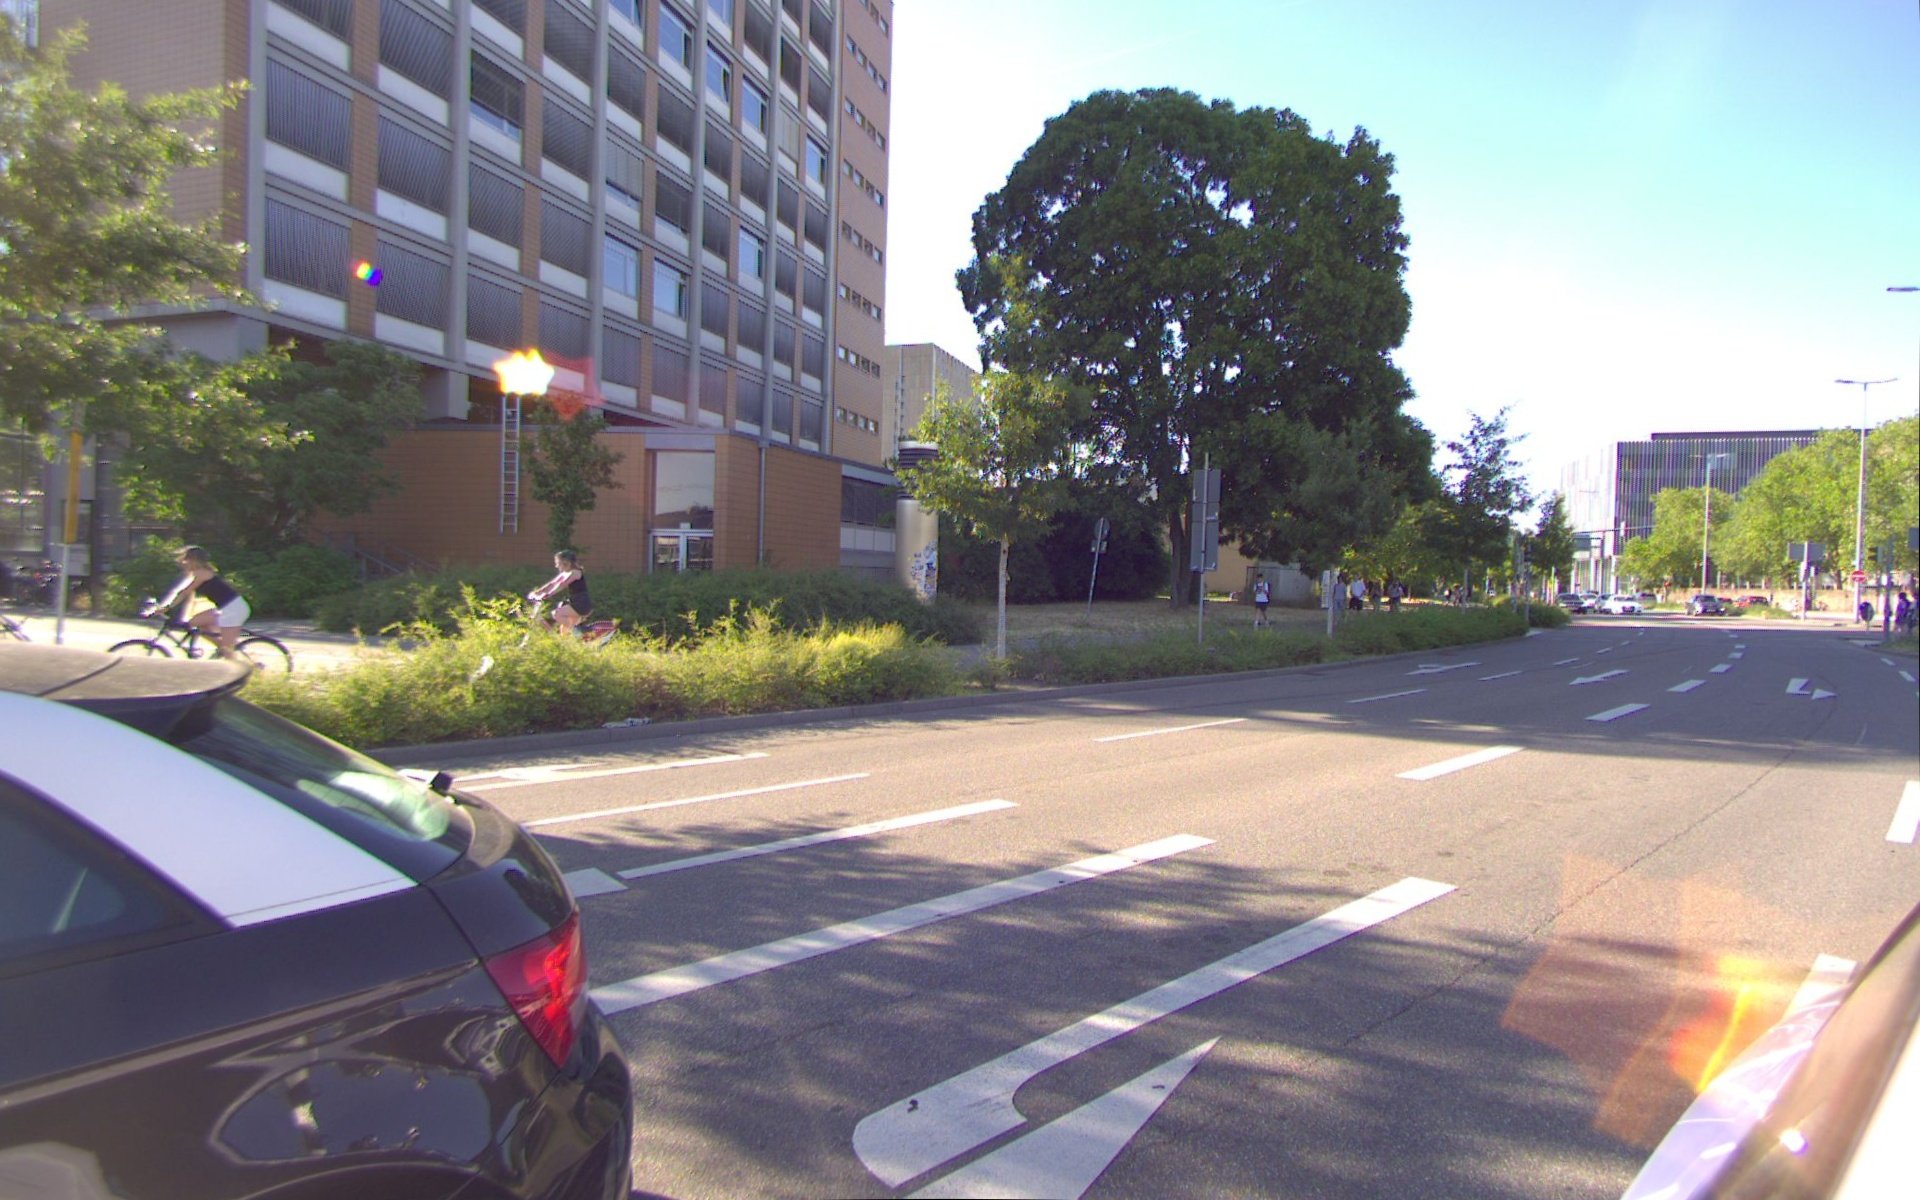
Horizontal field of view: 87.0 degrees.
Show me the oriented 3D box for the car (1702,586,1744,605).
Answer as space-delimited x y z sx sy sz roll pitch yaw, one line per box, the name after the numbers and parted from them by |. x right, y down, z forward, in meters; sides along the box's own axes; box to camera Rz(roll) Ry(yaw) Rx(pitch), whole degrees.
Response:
71.746 -0.458 95.241 2.172 1.605 4.569 2 2 24 | car

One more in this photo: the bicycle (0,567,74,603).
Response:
-23.392 -0.378 25.433 0.522 0.868 1.644 2 2 18 | bicycle

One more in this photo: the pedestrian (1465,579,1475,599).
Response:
43.823 -0.952 86.966 0.705 1.734 0.728 2 1 24 | pedestrian

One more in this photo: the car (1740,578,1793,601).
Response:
62.945 -0.810 79.111 2.173 1.606 4.566 2 0 25 | car

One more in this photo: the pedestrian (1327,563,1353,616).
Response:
13.727 -0.380 36.583 0.609 1.892 0.578 1 1 -15 | pedestrian

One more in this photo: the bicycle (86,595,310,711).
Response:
-8.111 0.544 10.834 1.836 1.135 0.718 2 -1 -41 | bicycle

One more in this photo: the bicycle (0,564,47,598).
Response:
-24.814 -0.494 26.244 0.522 0.868 1.644 2 2 18 | bicycle

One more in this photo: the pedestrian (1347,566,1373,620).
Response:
14.269 -0.258 36.097 0.609 1.892 0.578 1 1 -15 | pedestrian

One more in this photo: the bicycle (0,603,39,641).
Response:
-14.530 0.329 14.918 0.428 0.546 1.340 4 2 35 | bicycle

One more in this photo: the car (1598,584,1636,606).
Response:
50.578 -0.424 77.984 1.907 1.538 3.981 2 2 26 | car

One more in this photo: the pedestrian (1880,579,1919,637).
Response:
29.910 0.240 32.154 0.923 1.762 0.746 2 2 39 | pedestrian

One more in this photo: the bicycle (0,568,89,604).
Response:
-22.842 -0.361 25.269 0.522 0.868 1.644 2 2 18 | bicycle

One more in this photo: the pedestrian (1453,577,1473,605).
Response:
32.257 -0.594 64.913 1.005 1.771 0.845 2 1 18 | pedestrian

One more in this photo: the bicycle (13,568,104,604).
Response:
-22.319 -0.357 25.084 0.522 0.868 1.644 2 2 18 | bicycle

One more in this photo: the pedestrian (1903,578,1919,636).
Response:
29.385 0.216 30.776 0.923 1.762 0.746 2 1 39 | pedestrian

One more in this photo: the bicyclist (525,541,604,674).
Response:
-5.596 0.094 14.317 0.835 1.810 0.716 0 0 -43 | bicyclist

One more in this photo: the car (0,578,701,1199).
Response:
-2.474 0.703 1.067 3.913 1.462 1.802 0 0 -44 | car

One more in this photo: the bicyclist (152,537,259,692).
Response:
-8.087 0.152 10.849 0.834 1.568 0.716 2 -1 -41 | bicyclist

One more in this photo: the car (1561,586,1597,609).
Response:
43.932 -0.192 71.867 1.786 1.538 3.964 2 2 26 | car

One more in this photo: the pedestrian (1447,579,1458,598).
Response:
43.418 -1.021 89.231 0.753 1.562 0.842 2 1 18 | pedestrian

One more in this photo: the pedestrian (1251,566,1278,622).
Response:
9.657 -0.198 32.099 0.618 1.720 0.623 2 1 32 | pedestrian

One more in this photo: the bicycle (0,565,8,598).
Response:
-26.138 -0.488 26.556 0.522 0.868 1.644 2 2 18 | bicycle

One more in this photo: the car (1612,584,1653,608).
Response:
47.408 -0.289 71.434 1.786 1.538 4.391 2 2 26 | car

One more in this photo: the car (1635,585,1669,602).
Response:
74.966 -0.689 109.656 2.171 1.704 4.570 2 2 24 | car

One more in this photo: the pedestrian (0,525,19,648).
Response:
-13.510 -0.177 13.776 0.773 1.680 0.810 0 -1 -23 | pedestrian

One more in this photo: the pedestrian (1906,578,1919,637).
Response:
28.895 0.230 30.147 0.923 1.762 0.746 2 1 39 | pedestrian

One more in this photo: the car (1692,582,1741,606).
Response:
51.526 -0.453 69.026 1.907 1.538 3.981 2 2 26 | car

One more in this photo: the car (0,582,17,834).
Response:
-7.020 0.637 4.558 3.906 1.462 1.805 0 0 -39 | car

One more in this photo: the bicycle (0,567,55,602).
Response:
-23.995 -0.400 25.572 0.522 0.868 1.644 2 2 18 | bicycle

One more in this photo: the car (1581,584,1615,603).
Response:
53.188 -0.558 84.410 1.907 1.538 3.981 2 2 26 | car

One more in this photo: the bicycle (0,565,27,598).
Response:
-25.503 -0.481 26.410 0.522 0.868 1.644 2 2 18 | bicycle

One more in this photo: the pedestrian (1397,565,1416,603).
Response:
20.495 -0.735 46.479 0.667 1.725 0.872 2 1 18 | pedestrian

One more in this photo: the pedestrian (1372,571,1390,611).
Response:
17.183 -0.363 41.301 0.616 1.594 0.634 2 1 24 | pedestrian

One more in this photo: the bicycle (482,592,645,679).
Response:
-5.586 0.456 14.334 2.032 1.135 0.718 -1 0 -43 | bicycle
